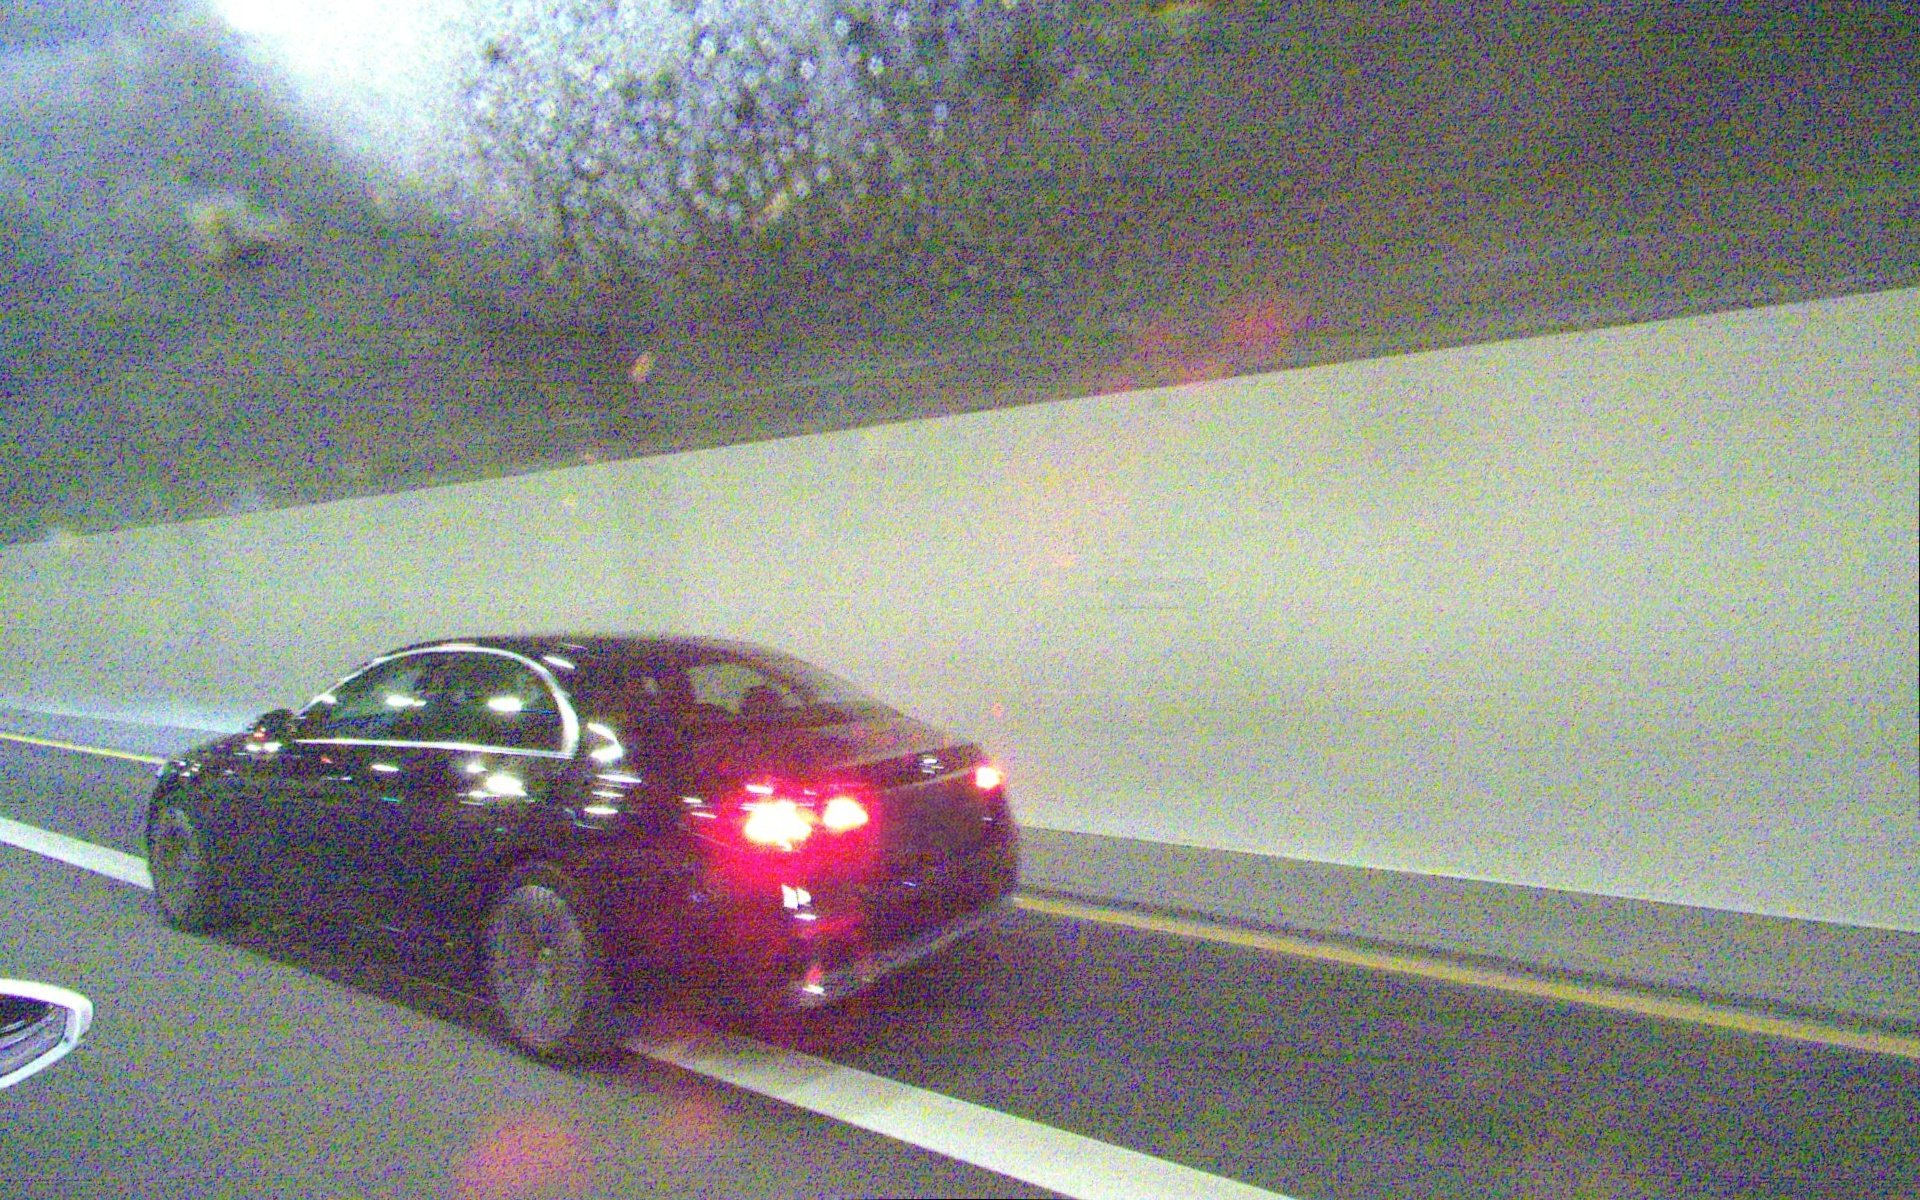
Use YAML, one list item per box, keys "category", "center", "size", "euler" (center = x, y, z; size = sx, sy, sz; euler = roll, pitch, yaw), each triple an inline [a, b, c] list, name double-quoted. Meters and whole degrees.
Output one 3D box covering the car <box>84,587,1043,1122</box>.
- category: "car"
  center: [-2.194, 0.793, 4.951]
  size: [4.884, 1.491, 1.923]
  euler: [-1, -3, 33]
